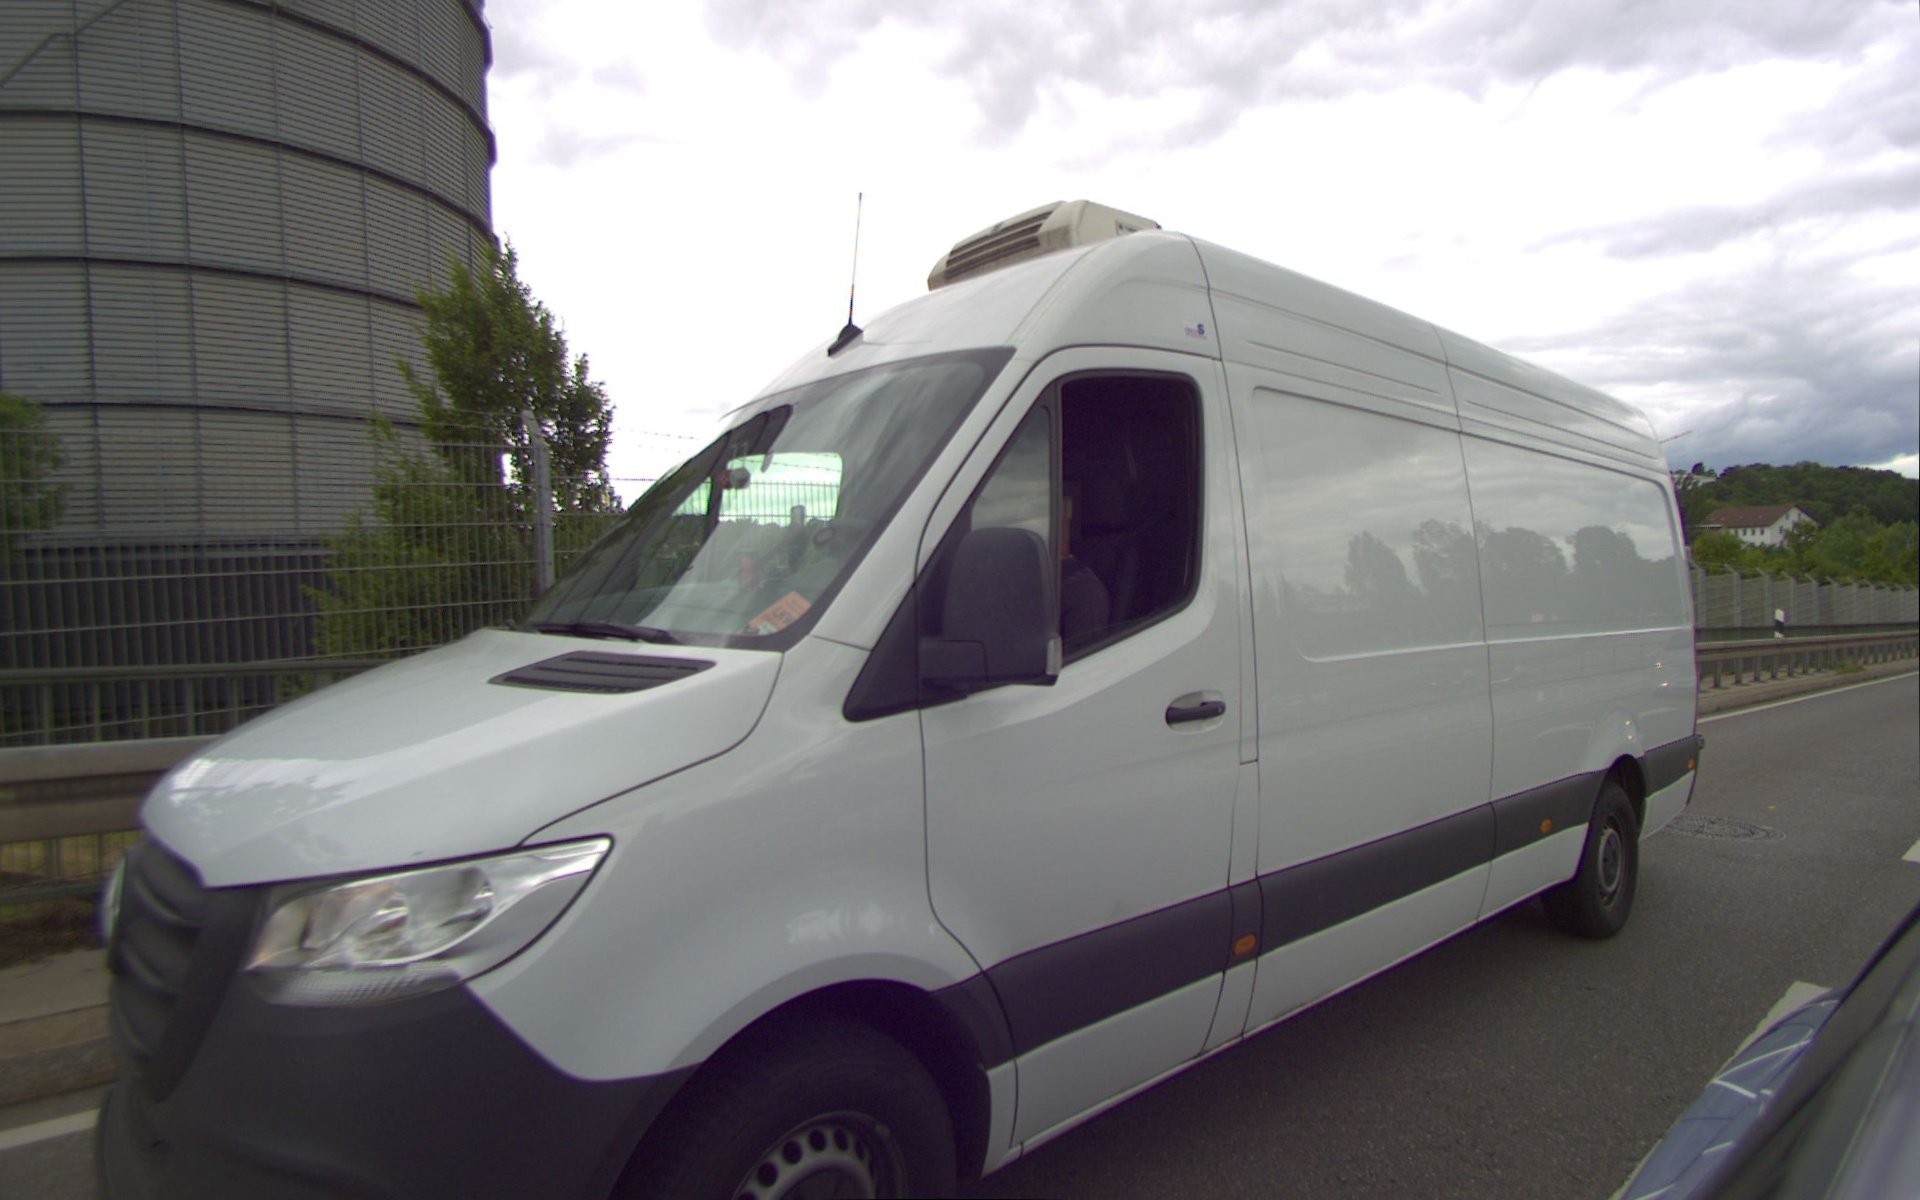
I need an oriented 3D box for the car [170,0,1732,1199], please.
[{"bbox_3d":[1.032,0.011,4.158,6.661,2.818,2.114,0,0,-41],"label":"car"}]
